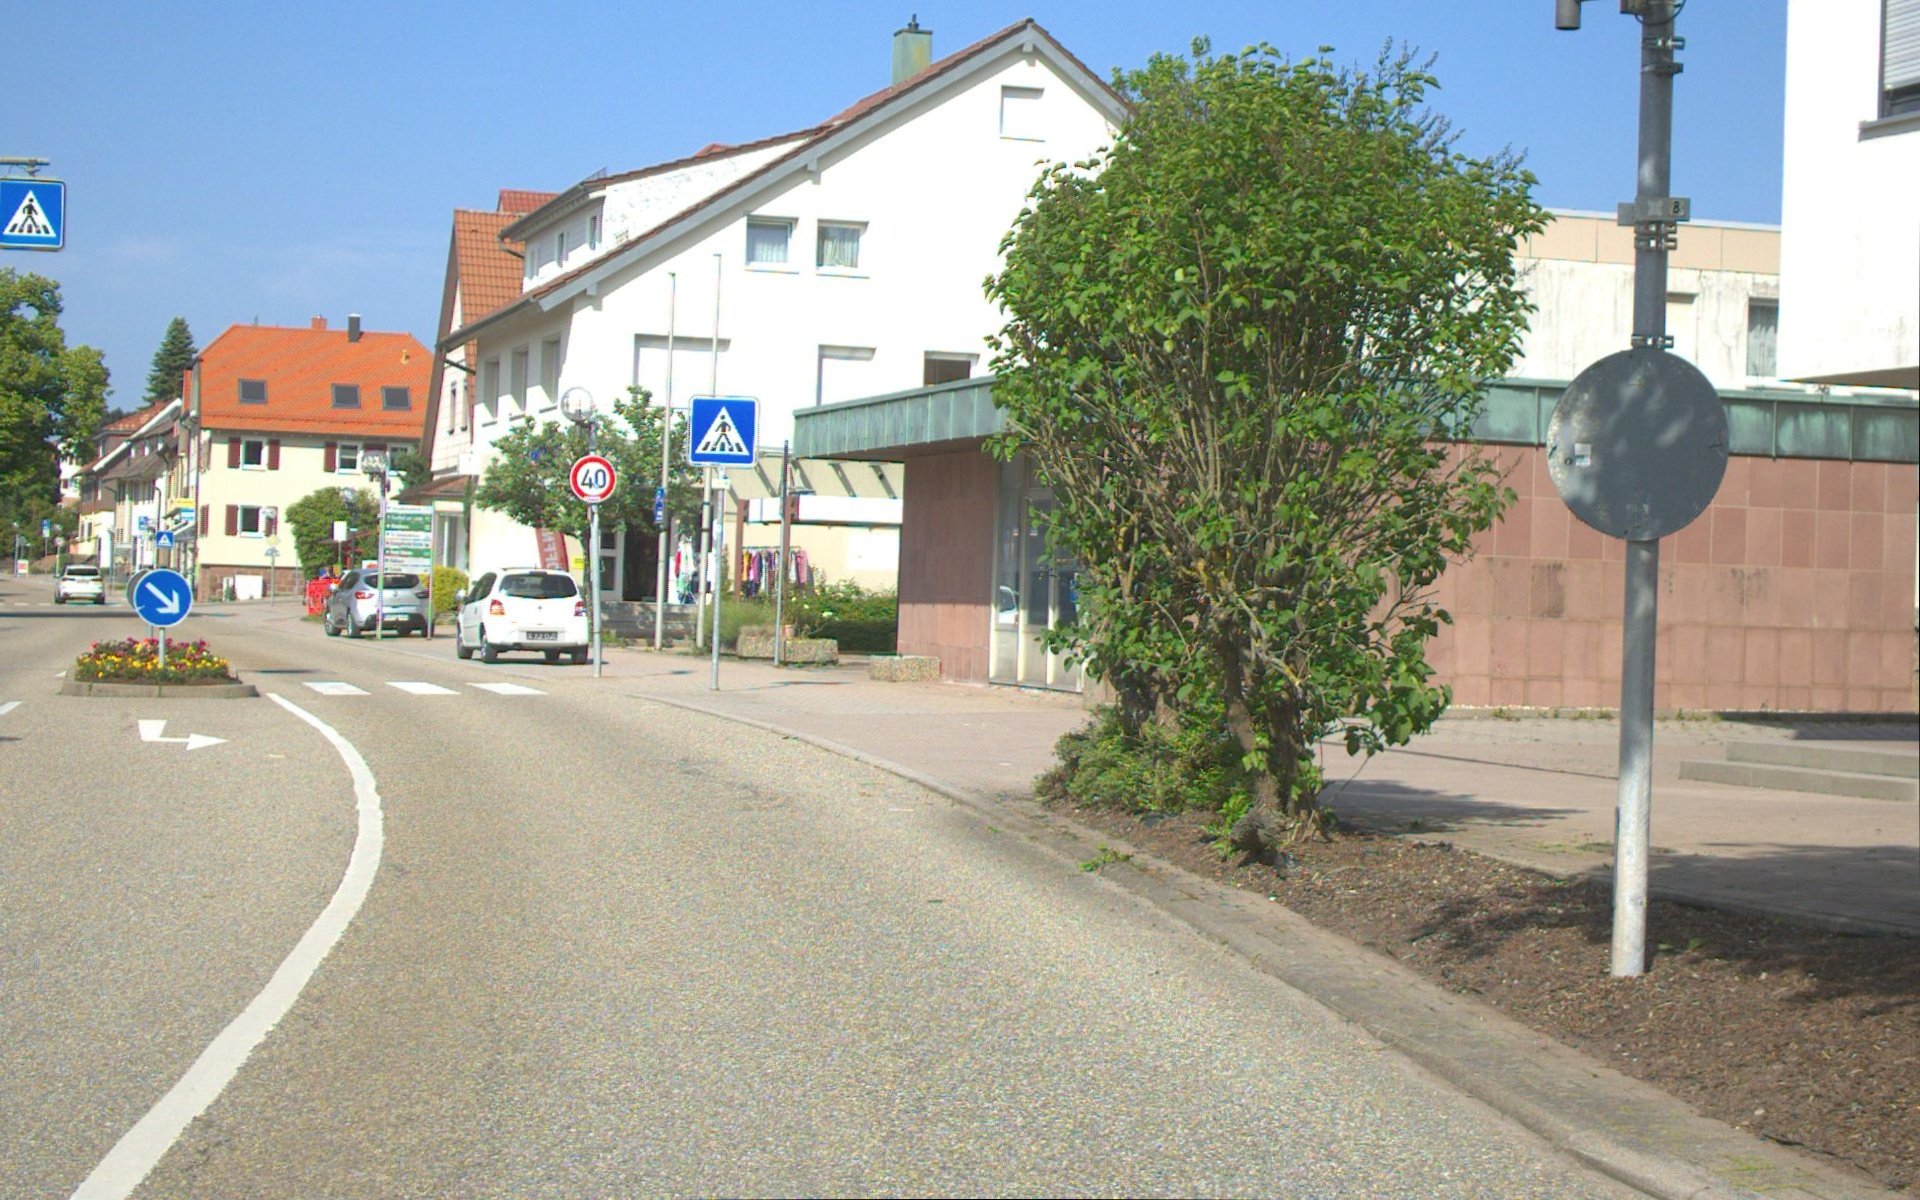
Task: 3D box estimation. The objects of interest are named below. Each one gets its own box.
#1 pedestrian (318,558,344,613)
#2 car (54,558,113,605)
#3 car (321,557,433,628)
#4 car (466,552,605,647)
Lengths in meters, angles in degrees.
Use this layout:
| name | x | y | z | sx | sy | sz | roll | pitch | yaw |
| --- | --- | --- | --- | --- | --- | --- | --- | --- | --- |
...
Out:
| name | x | y | z | sx | sy | sz | roll | pitch | yaw |
| --- | --- | --- | --- | --- | --- | --- | --- | --- | --- |
| pedestrian | -20.401 | -0.481 | 111.541 | 0.799 | 1.778 | 0.980 | 0 | 0 | -11 |
| car | -39.043 | -0.840 | 153.220 | 2.494 | 2.007 | 4.306 | -1 | 1 | -14 |
| car | -12.112 | -0.170 | 71.279 | 1.635 | 1.415 | 3.936 | -1 | 1 | -19 |
| car | -6.661 | -0.037 | 53.682 | 1.759 | 1.418 | 3.635 | -1 | 1 | -13 |
